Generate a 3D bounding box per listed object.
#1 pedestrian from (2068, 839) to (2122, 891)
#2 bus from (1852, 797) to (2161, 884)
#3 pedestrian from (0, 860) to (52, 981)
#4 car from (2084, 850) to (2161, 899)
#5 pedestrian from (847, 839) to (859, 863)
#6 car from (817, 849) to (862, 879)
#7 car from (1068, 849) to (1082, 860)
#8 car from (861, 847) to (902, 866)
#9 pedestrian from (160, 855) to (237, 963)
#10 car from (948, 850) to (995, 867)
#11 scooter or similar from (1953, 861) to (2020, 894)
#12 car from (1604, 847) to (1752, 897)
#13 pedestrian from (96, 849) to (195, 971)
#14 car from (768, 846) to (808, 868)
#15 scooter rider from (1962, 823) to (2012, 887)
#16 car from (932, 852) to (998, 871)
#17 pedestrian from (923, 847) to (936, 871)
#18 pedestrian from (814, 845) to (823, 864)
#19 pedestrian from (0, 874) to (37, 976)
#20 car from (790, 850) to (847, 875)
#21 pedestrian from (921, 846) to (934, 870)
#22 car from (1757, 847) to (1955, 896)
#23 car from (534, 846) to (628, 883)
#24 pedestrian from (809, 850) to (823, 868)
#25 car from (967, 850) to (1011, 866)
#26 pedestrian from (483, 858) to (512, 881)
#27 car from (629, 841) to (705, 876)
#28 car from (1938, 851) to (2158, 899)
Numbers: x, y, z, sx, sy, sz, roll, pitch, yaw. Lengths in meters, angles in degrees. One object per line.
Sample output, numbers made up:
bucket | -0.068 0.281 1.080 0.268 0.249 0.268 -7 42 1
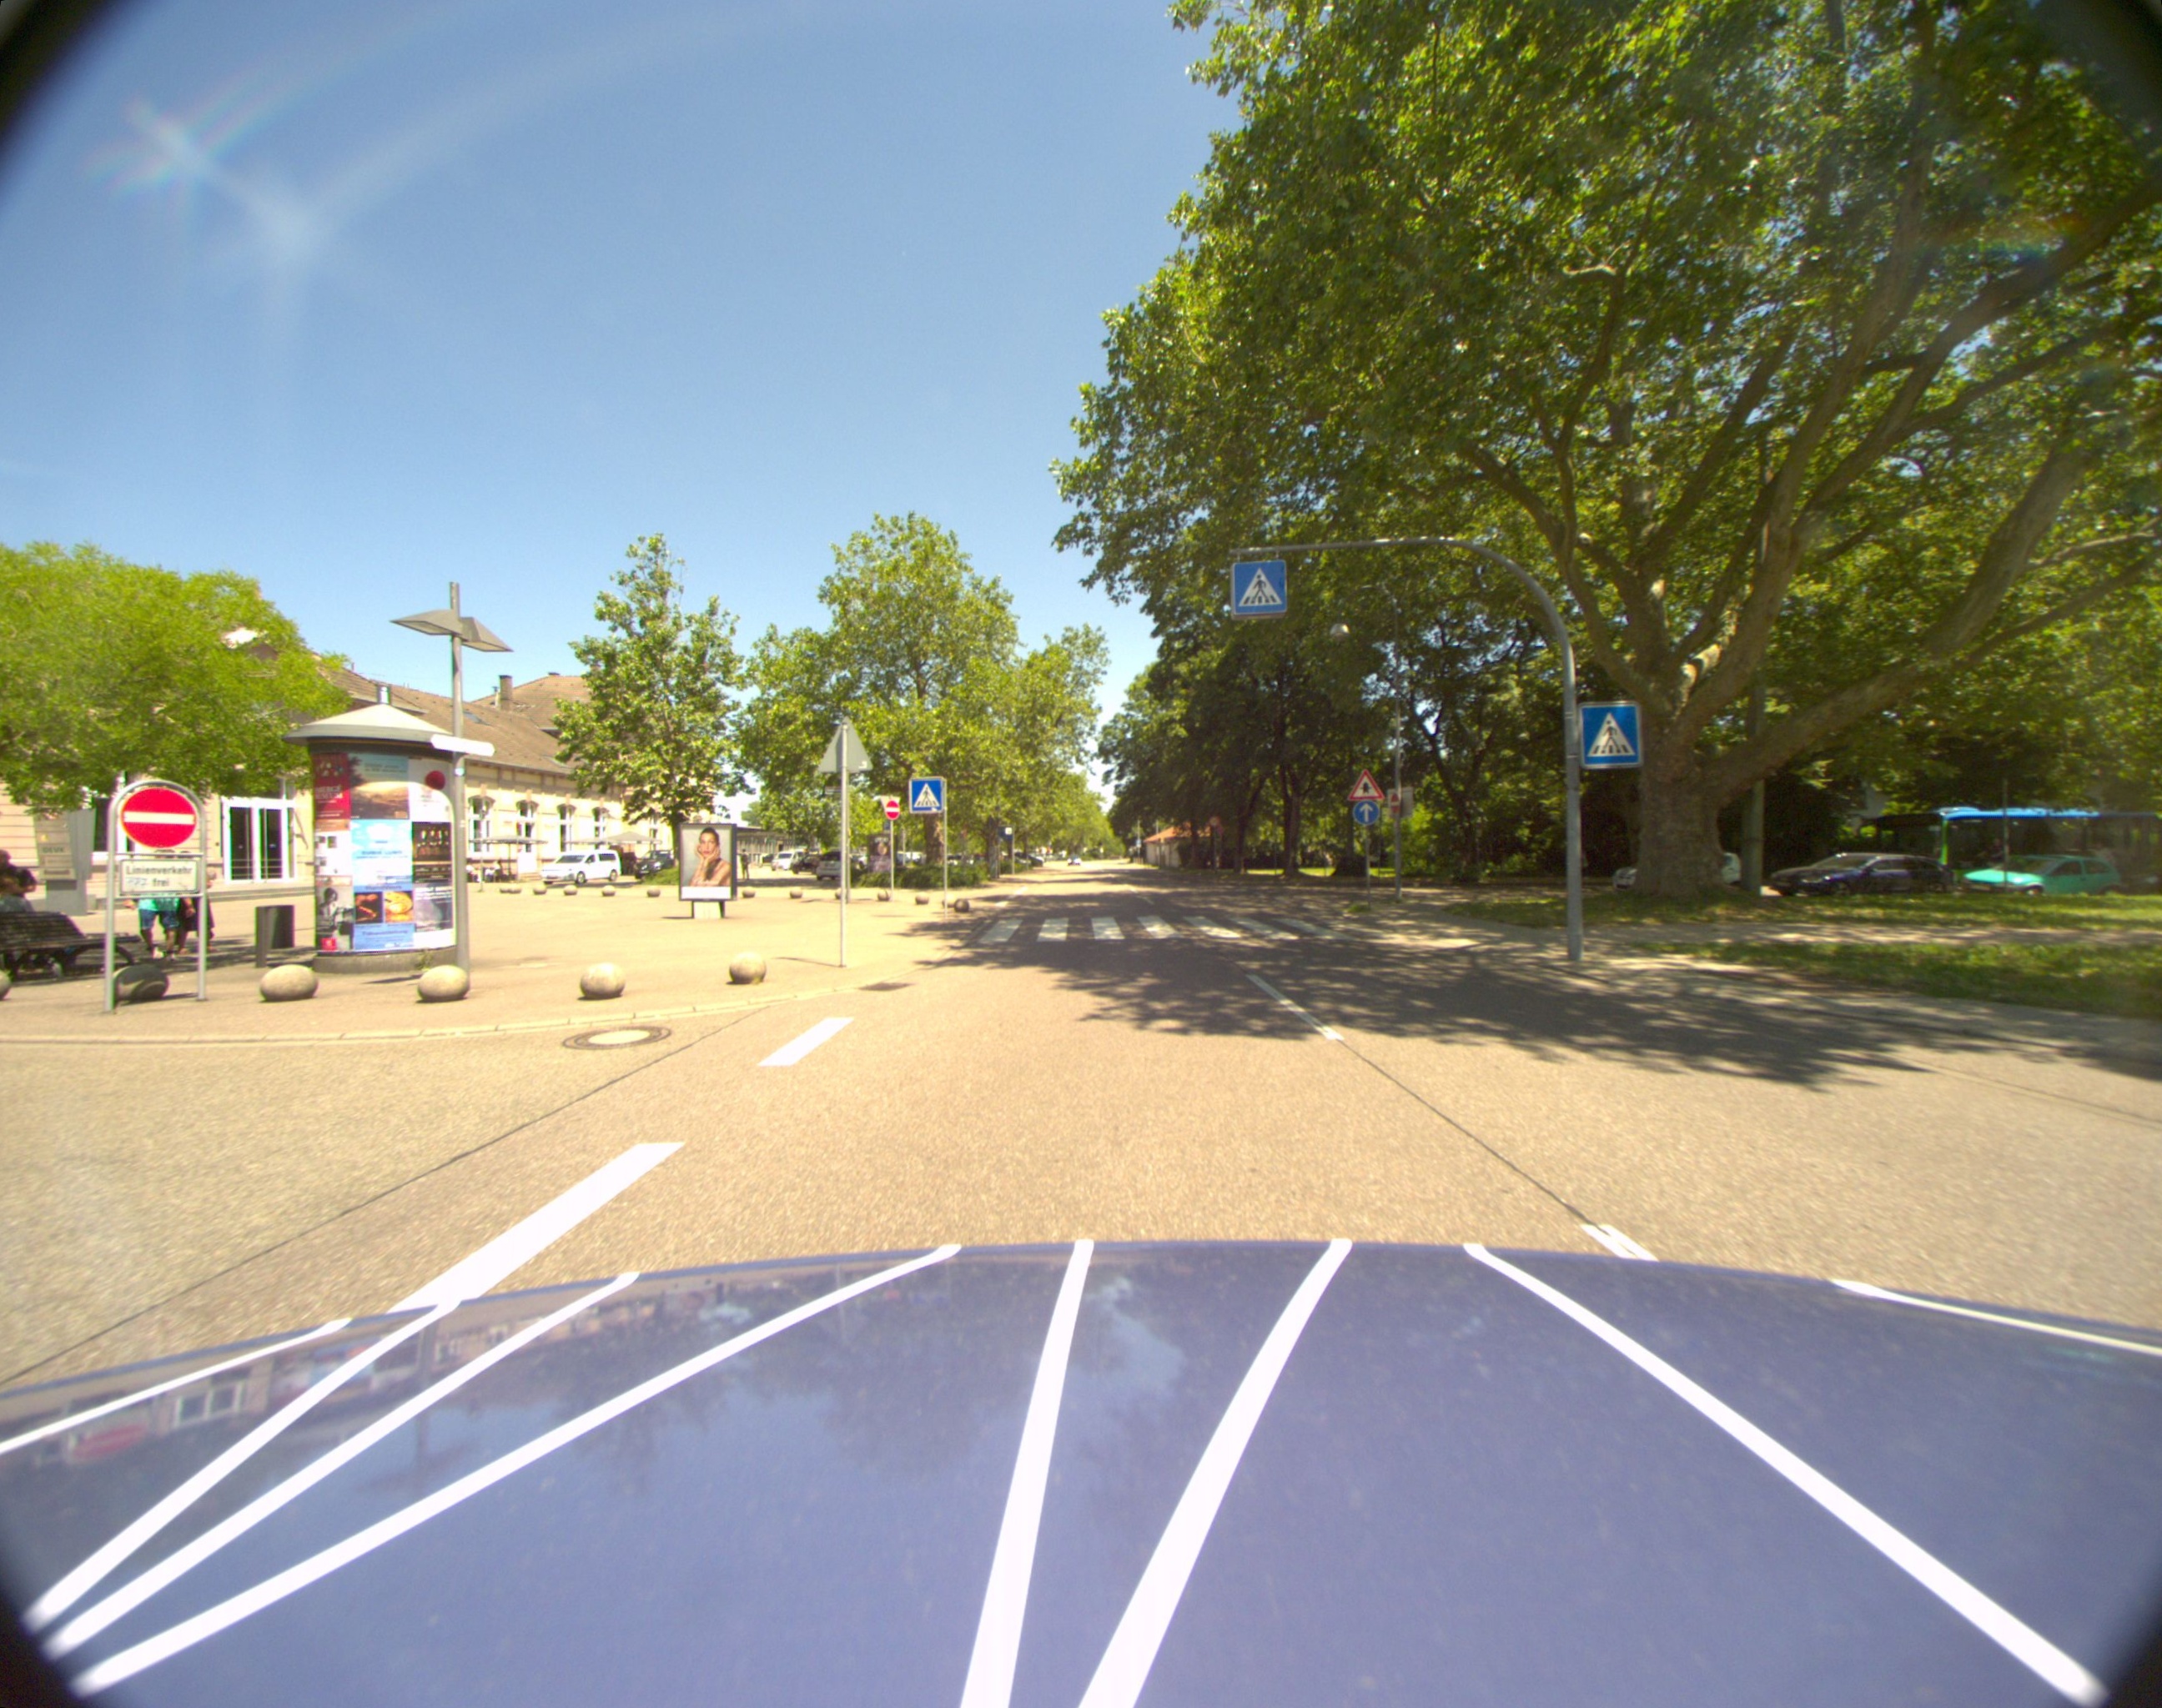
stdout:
pedestrian | 35.350 0.380 26.507 0.940 1.792 0.722 -1 1 -4
bus | 40.447 -0.537 30.570 15.939 3.276 2.877 0 1 0
pedestrian | -15.880 0.969 11.206 0.586 1.730 0.598 -1 1 -25
car | 35.510 0.630 24.377 4.372 1.484 1.760 0 1 0
pedestrian | -14.510 -0.174 48.384 0.591 1.539 0.609 0 1 -29
car | -13.565 0.540 42.836 1.601 1.584 3.105 -1 1 -2
car | -0.827 0.004 100.975 1.660 1.368 3.451 -3 0 1
car | -18.128 0.185 68.922 4.051 1.596 1.804 2 4 45
pedestrian | -14.613 0.884 12.599 0.628 1.730 0.547 -1 1 -25
car | -10.010 0.386 69.421 3.882 1.452 1.632 -1 1 -28
scooter or similar | 33.194 0.847 27.863 1.517 1.176 0.741 0 1 2
car | 19.208 0.566 24.553 3.483 1.489 1.599 -1 2 0
pedestrian | -13.941 0.807 11.341 0.694 1.753 0.584 -1 1 -22
car | -26.914 0.222 70.025 2.004 1.830 5.315 -2 1 -5
scooter rider | 33.197 0.037 27.845 0.926 2.304 0.741 0 1 2
car | -8.999 0.543 59.049 4.782 1.409 1.783 -1 1 -19
pedestrian | -11.402 0.355 57.224 0.839 1.760 0.850 -1 1 -20
pedestrian | -27.343 0.025 79.129 0.628 1.978 0.617 -2 1 -5
pedestrian | -15.332 0.984 10.386 0.914 1.378 0.942 -1 1 -29
car | -18.133 0.547 52.371 4.516 1.534 1.804 2 3 44
pedestrian | -11.747 0.301 58.201 0.839 1.760 0.850 -1 1 -19
car | 24.601 0.536 24.243 4.499 1.431 1.755 -1 2 0
car | -27.032 0.545 41.294 1.814 1.855 5.138 -1 0 -2
pedestrian | -21.651 0.420 62.054 0.689 1.416 0.803 0 1 39
car | -8.837 0.396 73.224 3.882 1.452 1.632 -1 1 -28
pedestrian | -30.815 0.821 40.122 0.881 1.155 0.851 1 1 -4
car | -26.591 0.297 49.070 2.093 2.112 5.823 -1 0 -5
car | 30.816 0.653 24.316 4.766 1.431 1.756 0 1 0
